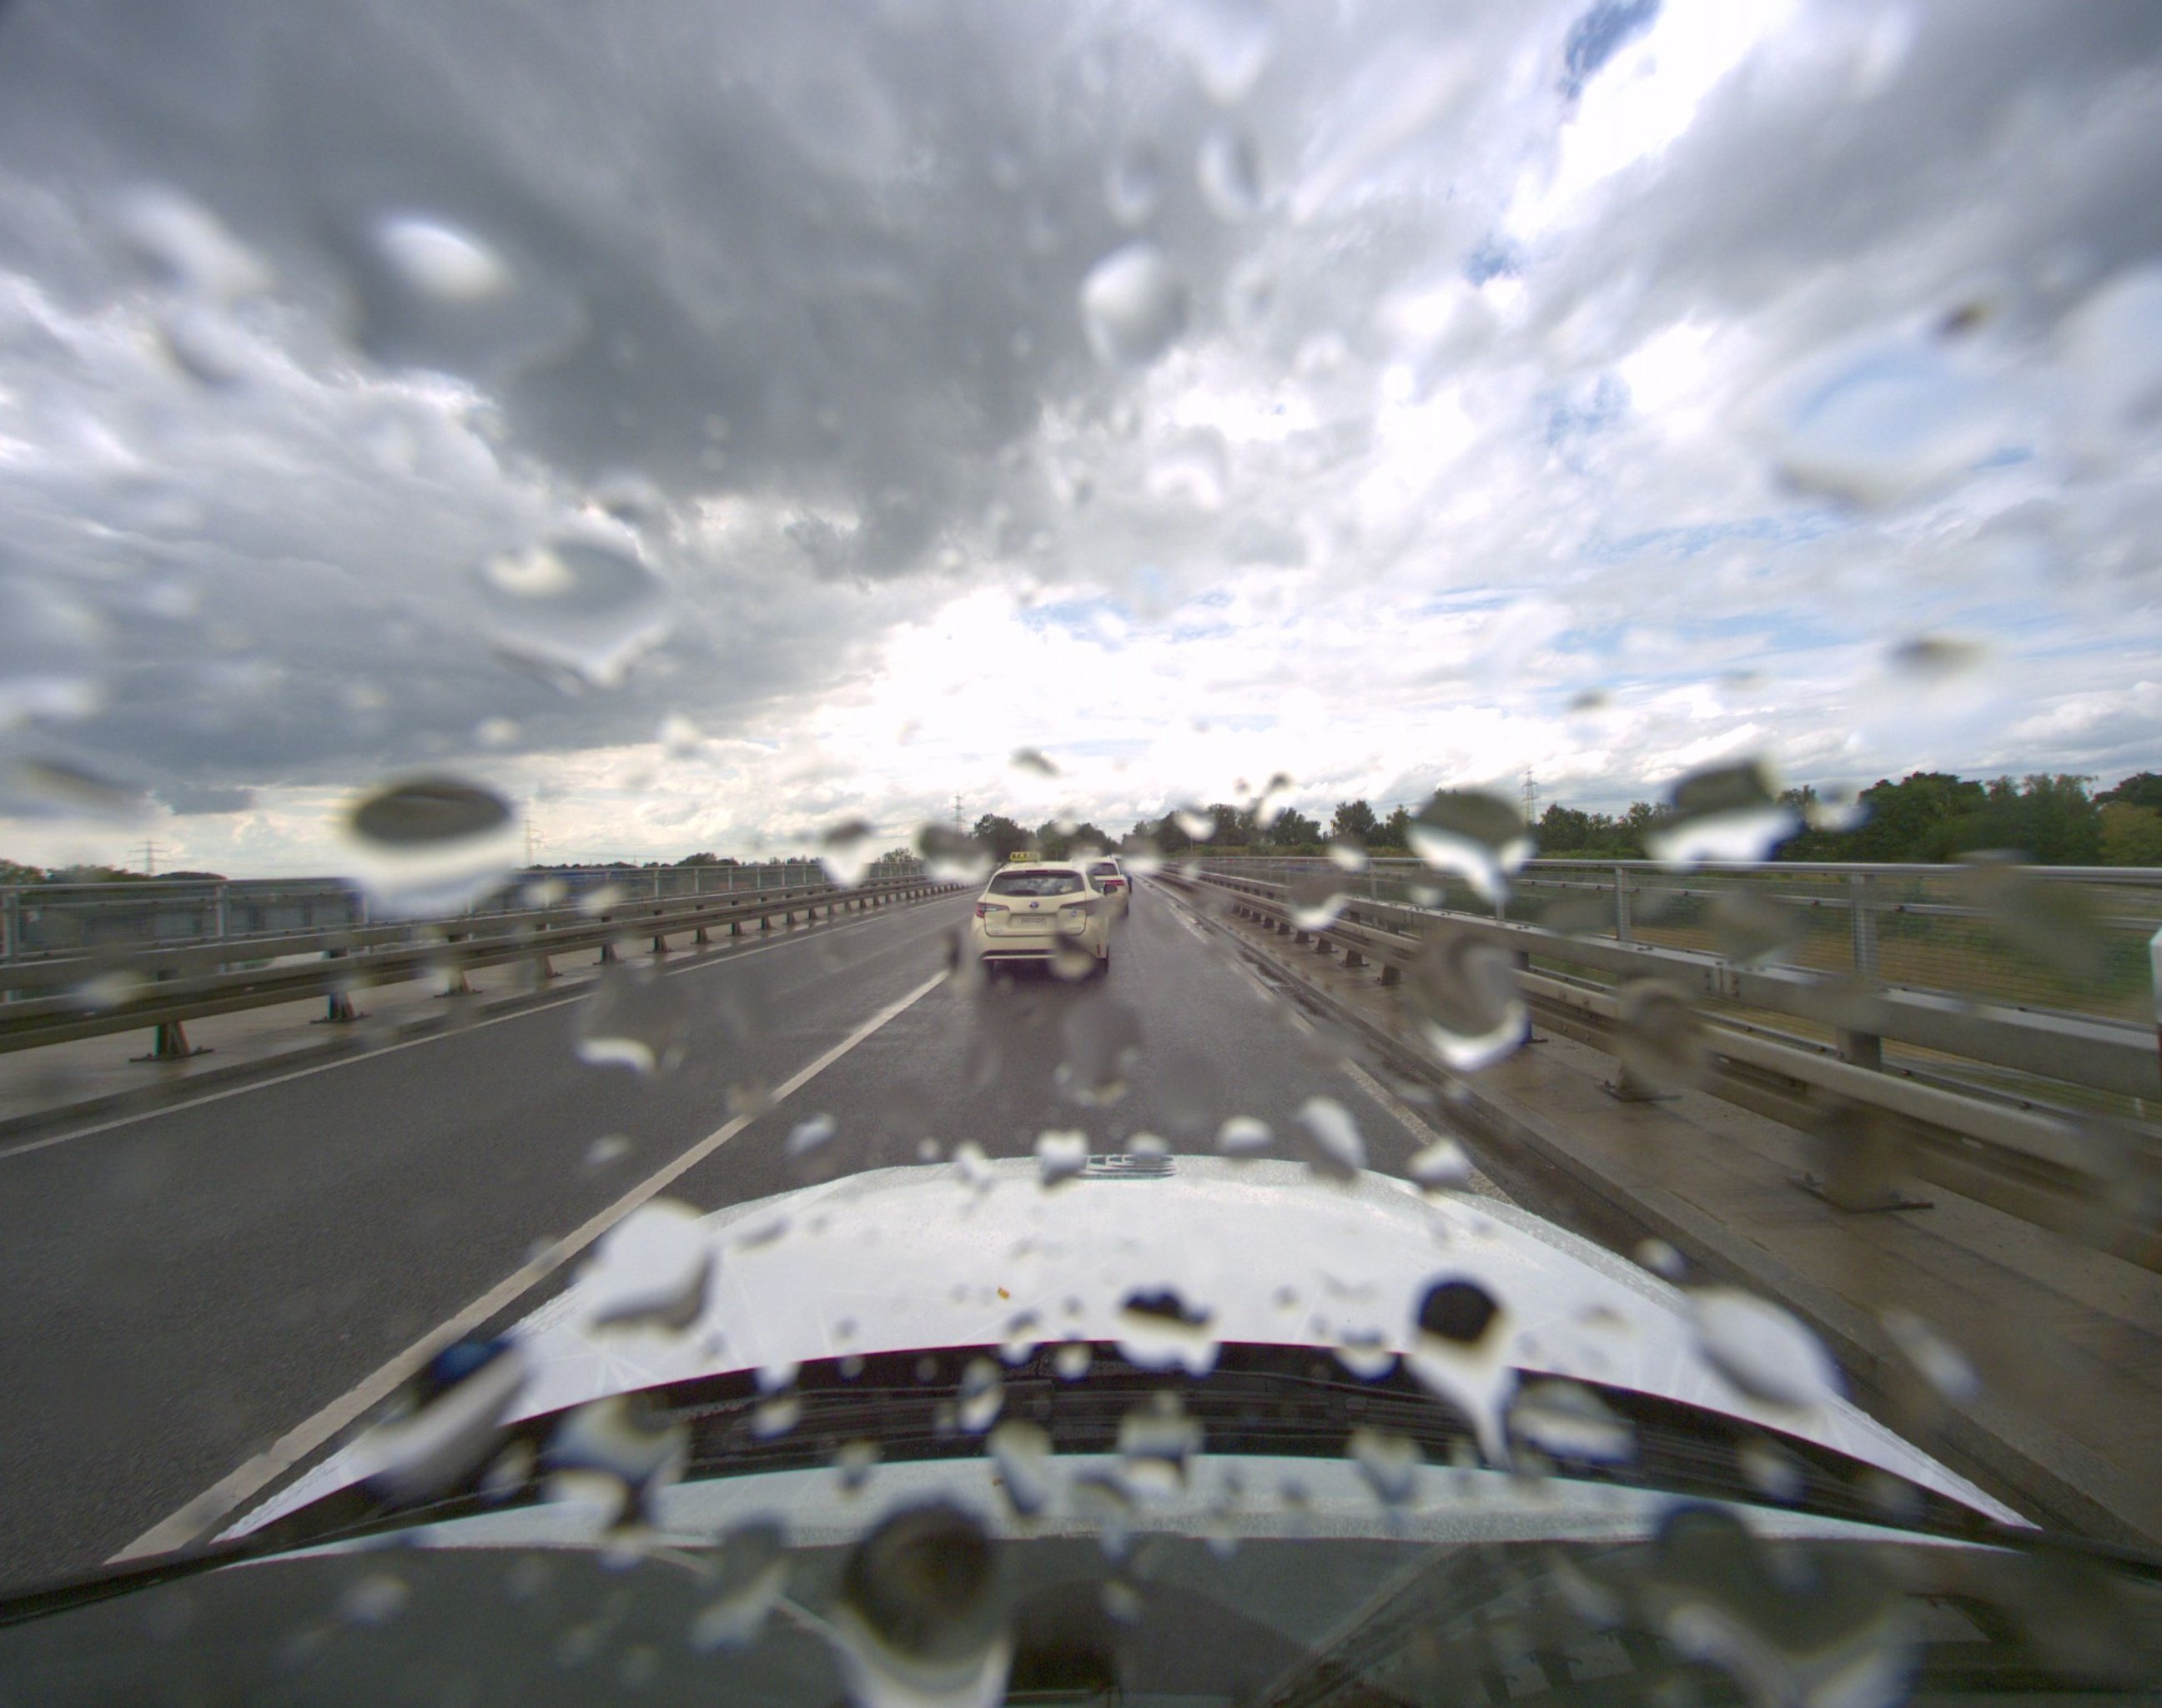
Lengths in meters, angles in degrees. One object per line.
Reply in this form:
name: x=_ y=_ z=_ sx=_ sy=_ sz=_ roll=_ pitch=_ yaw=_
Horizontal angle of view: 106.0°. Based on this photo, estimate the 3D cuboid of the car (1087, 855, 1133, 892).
car: x=1.232 y=0.789 z=34.762 sx=1.847 sy=1.443 sz=4.173 roll=0 pitch=0 yaw=2

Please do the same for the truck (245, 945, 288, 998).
truck: x=-82.141 y=11.692 z=82.220 sx=2.450 sy=4.001 sz=11.035 roll=0 pitch=-1 yaw=-42

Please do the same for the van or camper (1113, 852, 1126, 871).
van or camper: x=7.275 y=1.414 z=155.131 sx=2.323 sy=3.563 sz=6.309 roll=0 pitch=-1 yaw=2

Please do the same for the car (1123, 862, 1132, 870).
car: x=11.489 y=2.904 z=202.384 sx=1.986 sy=2.014 sz=4.001 roll=0 pitch=-1 yaw=1

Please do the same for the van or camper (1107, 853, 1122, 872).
van or camper: x=5.365 y=1.382 z=131.385 sx=2.323 sy=2.864 sz=6.309 roll=0 pitch=-1 yaw=2

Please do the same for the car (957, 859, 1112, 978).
car: x=-0.483 y=0.785 z=11.835 sx=1.847 sy=1.394 sz=4.173 roll=0 pitch=0 yaw=2

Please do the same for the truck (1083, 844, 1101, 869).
truck: x=1.946 y=0.414 z=136.276 sx=2.672 sy=4.017 sz=10.061 roll=-1 pitch=0 yaw=2

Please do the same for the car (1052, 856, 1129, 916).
car: x=0.298 y=0.774 z=21.721 sx=1.847 sy=1.443 sz=4.173 roll=0 pitch=0 yaw=2
